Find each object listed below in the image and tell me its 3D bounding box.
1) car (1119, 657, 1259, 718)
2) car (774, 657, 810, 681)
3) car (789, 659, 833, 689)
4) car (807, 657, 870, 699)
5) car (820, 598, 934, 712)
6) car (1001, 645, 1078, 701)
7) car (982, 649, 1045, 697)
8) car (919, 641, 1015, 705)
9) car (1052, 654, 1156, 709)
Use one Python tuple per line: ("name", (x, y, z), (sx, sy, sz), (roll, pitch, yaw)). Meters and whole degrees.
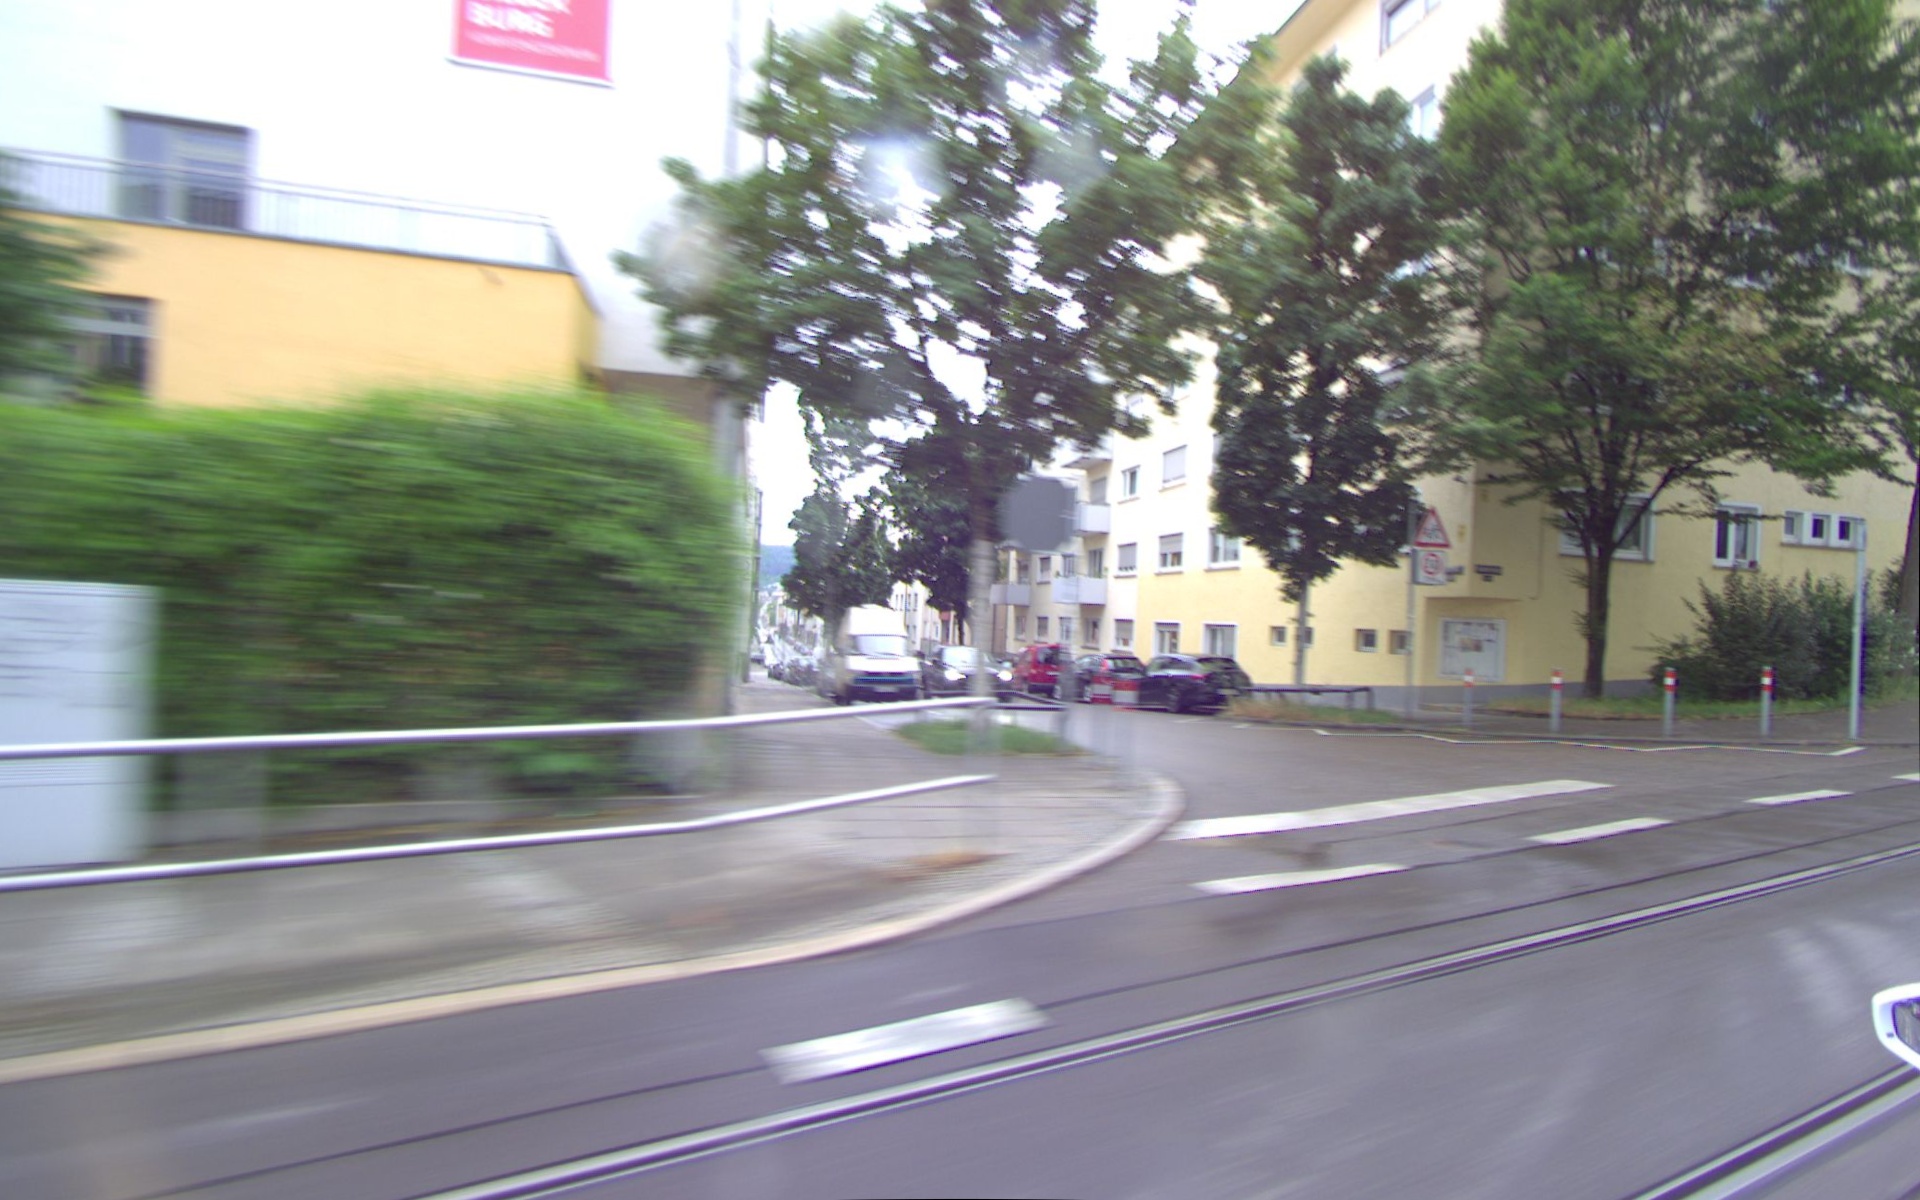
("car", (5.420, 2.055, 24.346), (1.682, 1.298, 3.944), (-1, -3, -14))
("car", (-9.508, 3.870, 56.738), (1.682, 1.298, 3.944), (-1, -3, -14))
("car", (-7.064, 3.467, 47.347), (1.682, 1.298, 3.944), (-1, -3, -14))
("car", (-4.254, 2.655, 34.728), (1.682, 1.298, 3.944), (-1, -3, -14))
("car", (-2.291, 1.411, 26.041), (2.035, 2.606, 5.426), (-1, -3, -14))
("car", (2.782, 2.566, 35.895), (1.681, 1.823, 4.043), (-1, -3, -11))
("car", (2.115, 2.952, 40.985), (1.660, 1.823, 3.766), (-1, -3, -11))
("car", (0.108, 2.015, 28.230), (1.747, 1.588, 3.944), (-1, -3, -14))
("car", (4.250, 2.402, 30.309), (1.682, 1.391, 4.039), (-1, -1, -14))
